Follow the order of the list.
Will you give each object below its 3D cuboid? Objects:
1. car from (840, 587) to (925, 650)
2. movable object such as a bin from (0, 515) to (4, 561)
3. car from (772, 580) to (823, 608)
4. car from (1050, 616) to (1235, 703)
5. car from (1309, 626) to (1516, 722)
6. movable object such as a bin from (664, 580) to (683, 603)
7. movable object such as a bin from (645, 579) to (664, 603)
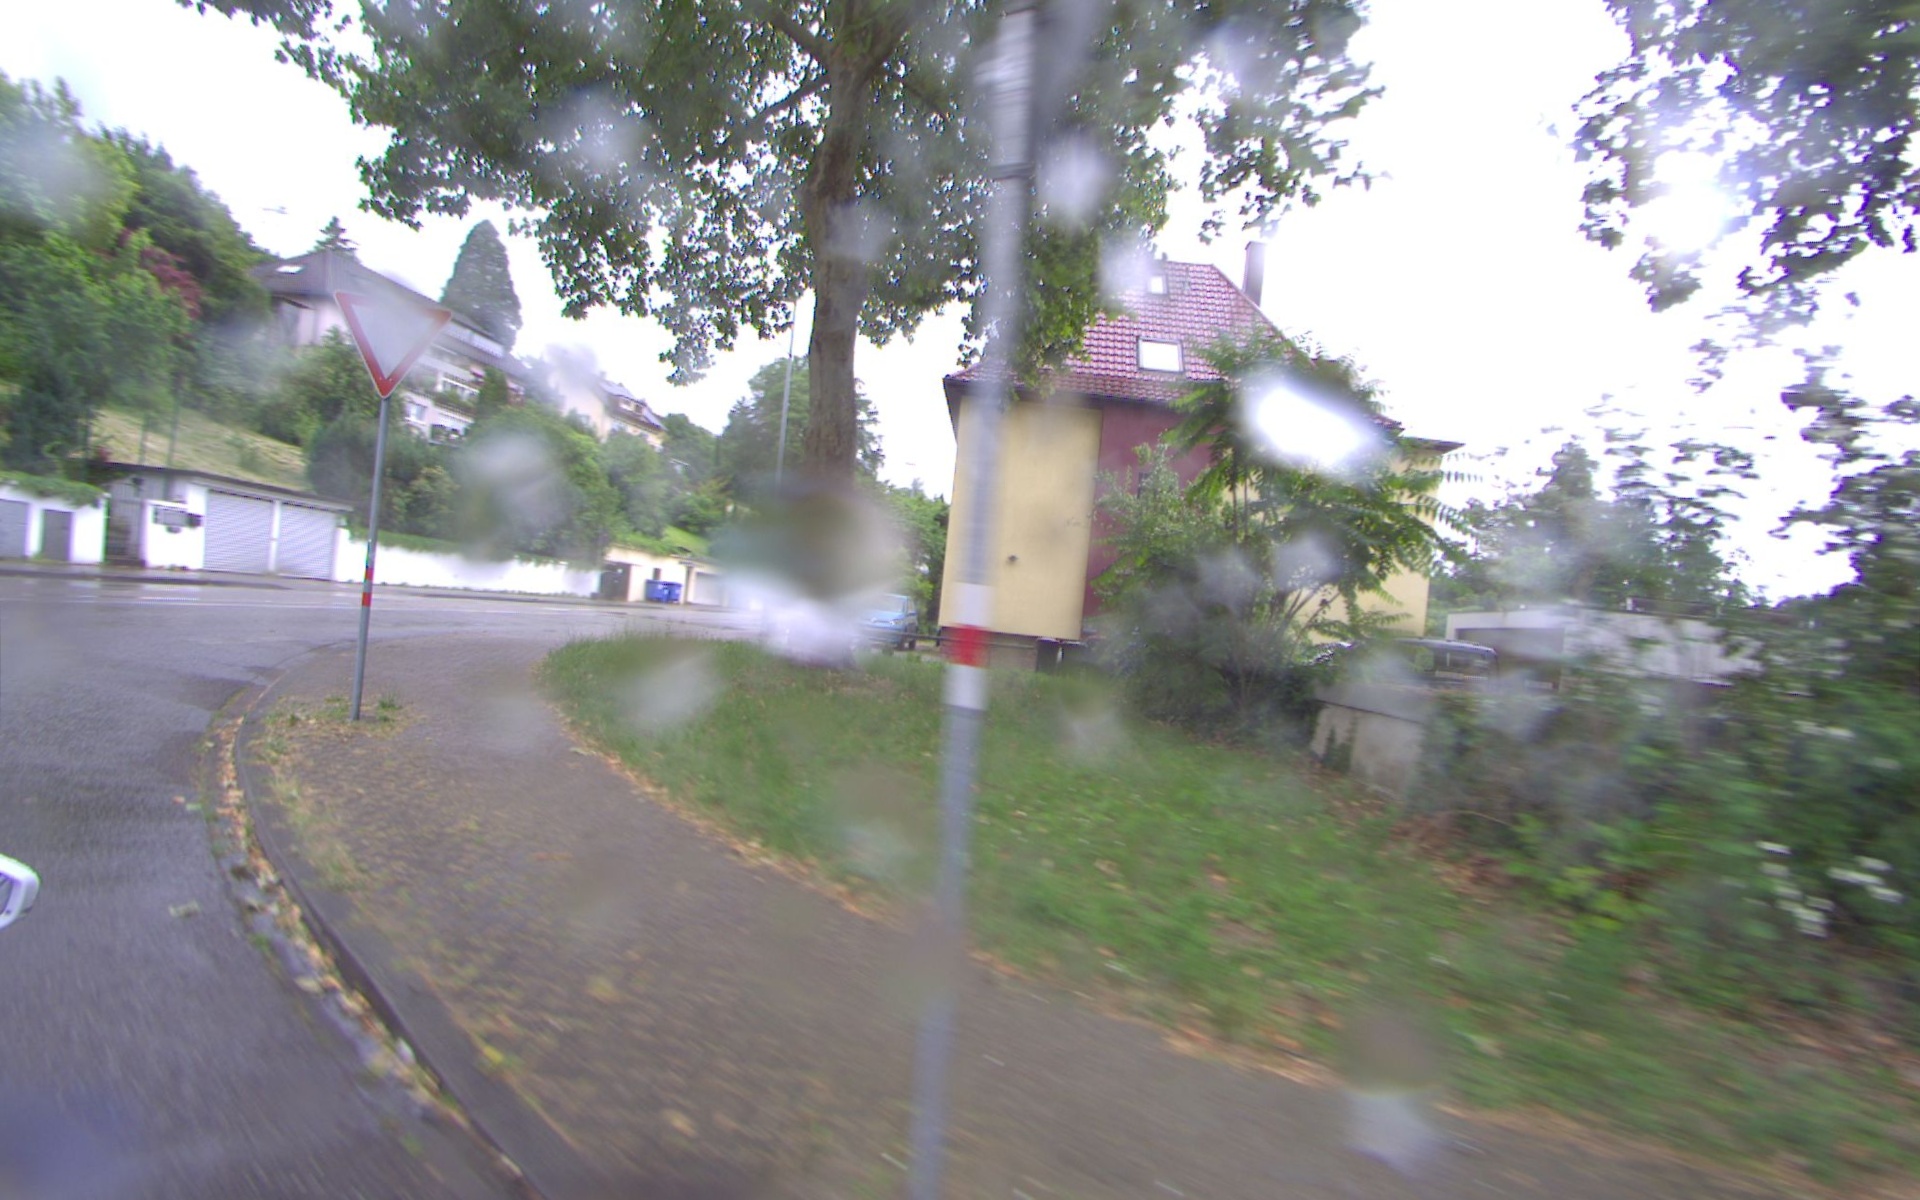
[{"bbox_3d":[-2.068,0.496,27.854,1.619,1.465,3.549,6,0,6],"label":"car"},{"bbox_3d":[-19.858,-1.302,19.952,0.836,0.927,0.954,6,1,1],"label":"movable object such as a bin"},{"bbox_3d":[-12.146,-0.433,75.571,2.259,1.775,5.181,6,0,8],"label":"car"},{"bbox_3d":[3.601,1.165,20.305,3.389,1.315,1.545,6,1,2],"label":"car"},{"bbox_3d":[9.035,1.448,20.262,3.365,1.490,1.491,6,1,2],"label":"car"},{"bbox_3d":[-17.882,-0.499,62.807,0.699,1.353,0.834,6,1,11],"label":"movable object such as a bin"},{"bbox_3d":[-18.409,-0.526,60.599,0.699,1.353,0.834,6,1,11],"label":"movable object such as a bin"}]
